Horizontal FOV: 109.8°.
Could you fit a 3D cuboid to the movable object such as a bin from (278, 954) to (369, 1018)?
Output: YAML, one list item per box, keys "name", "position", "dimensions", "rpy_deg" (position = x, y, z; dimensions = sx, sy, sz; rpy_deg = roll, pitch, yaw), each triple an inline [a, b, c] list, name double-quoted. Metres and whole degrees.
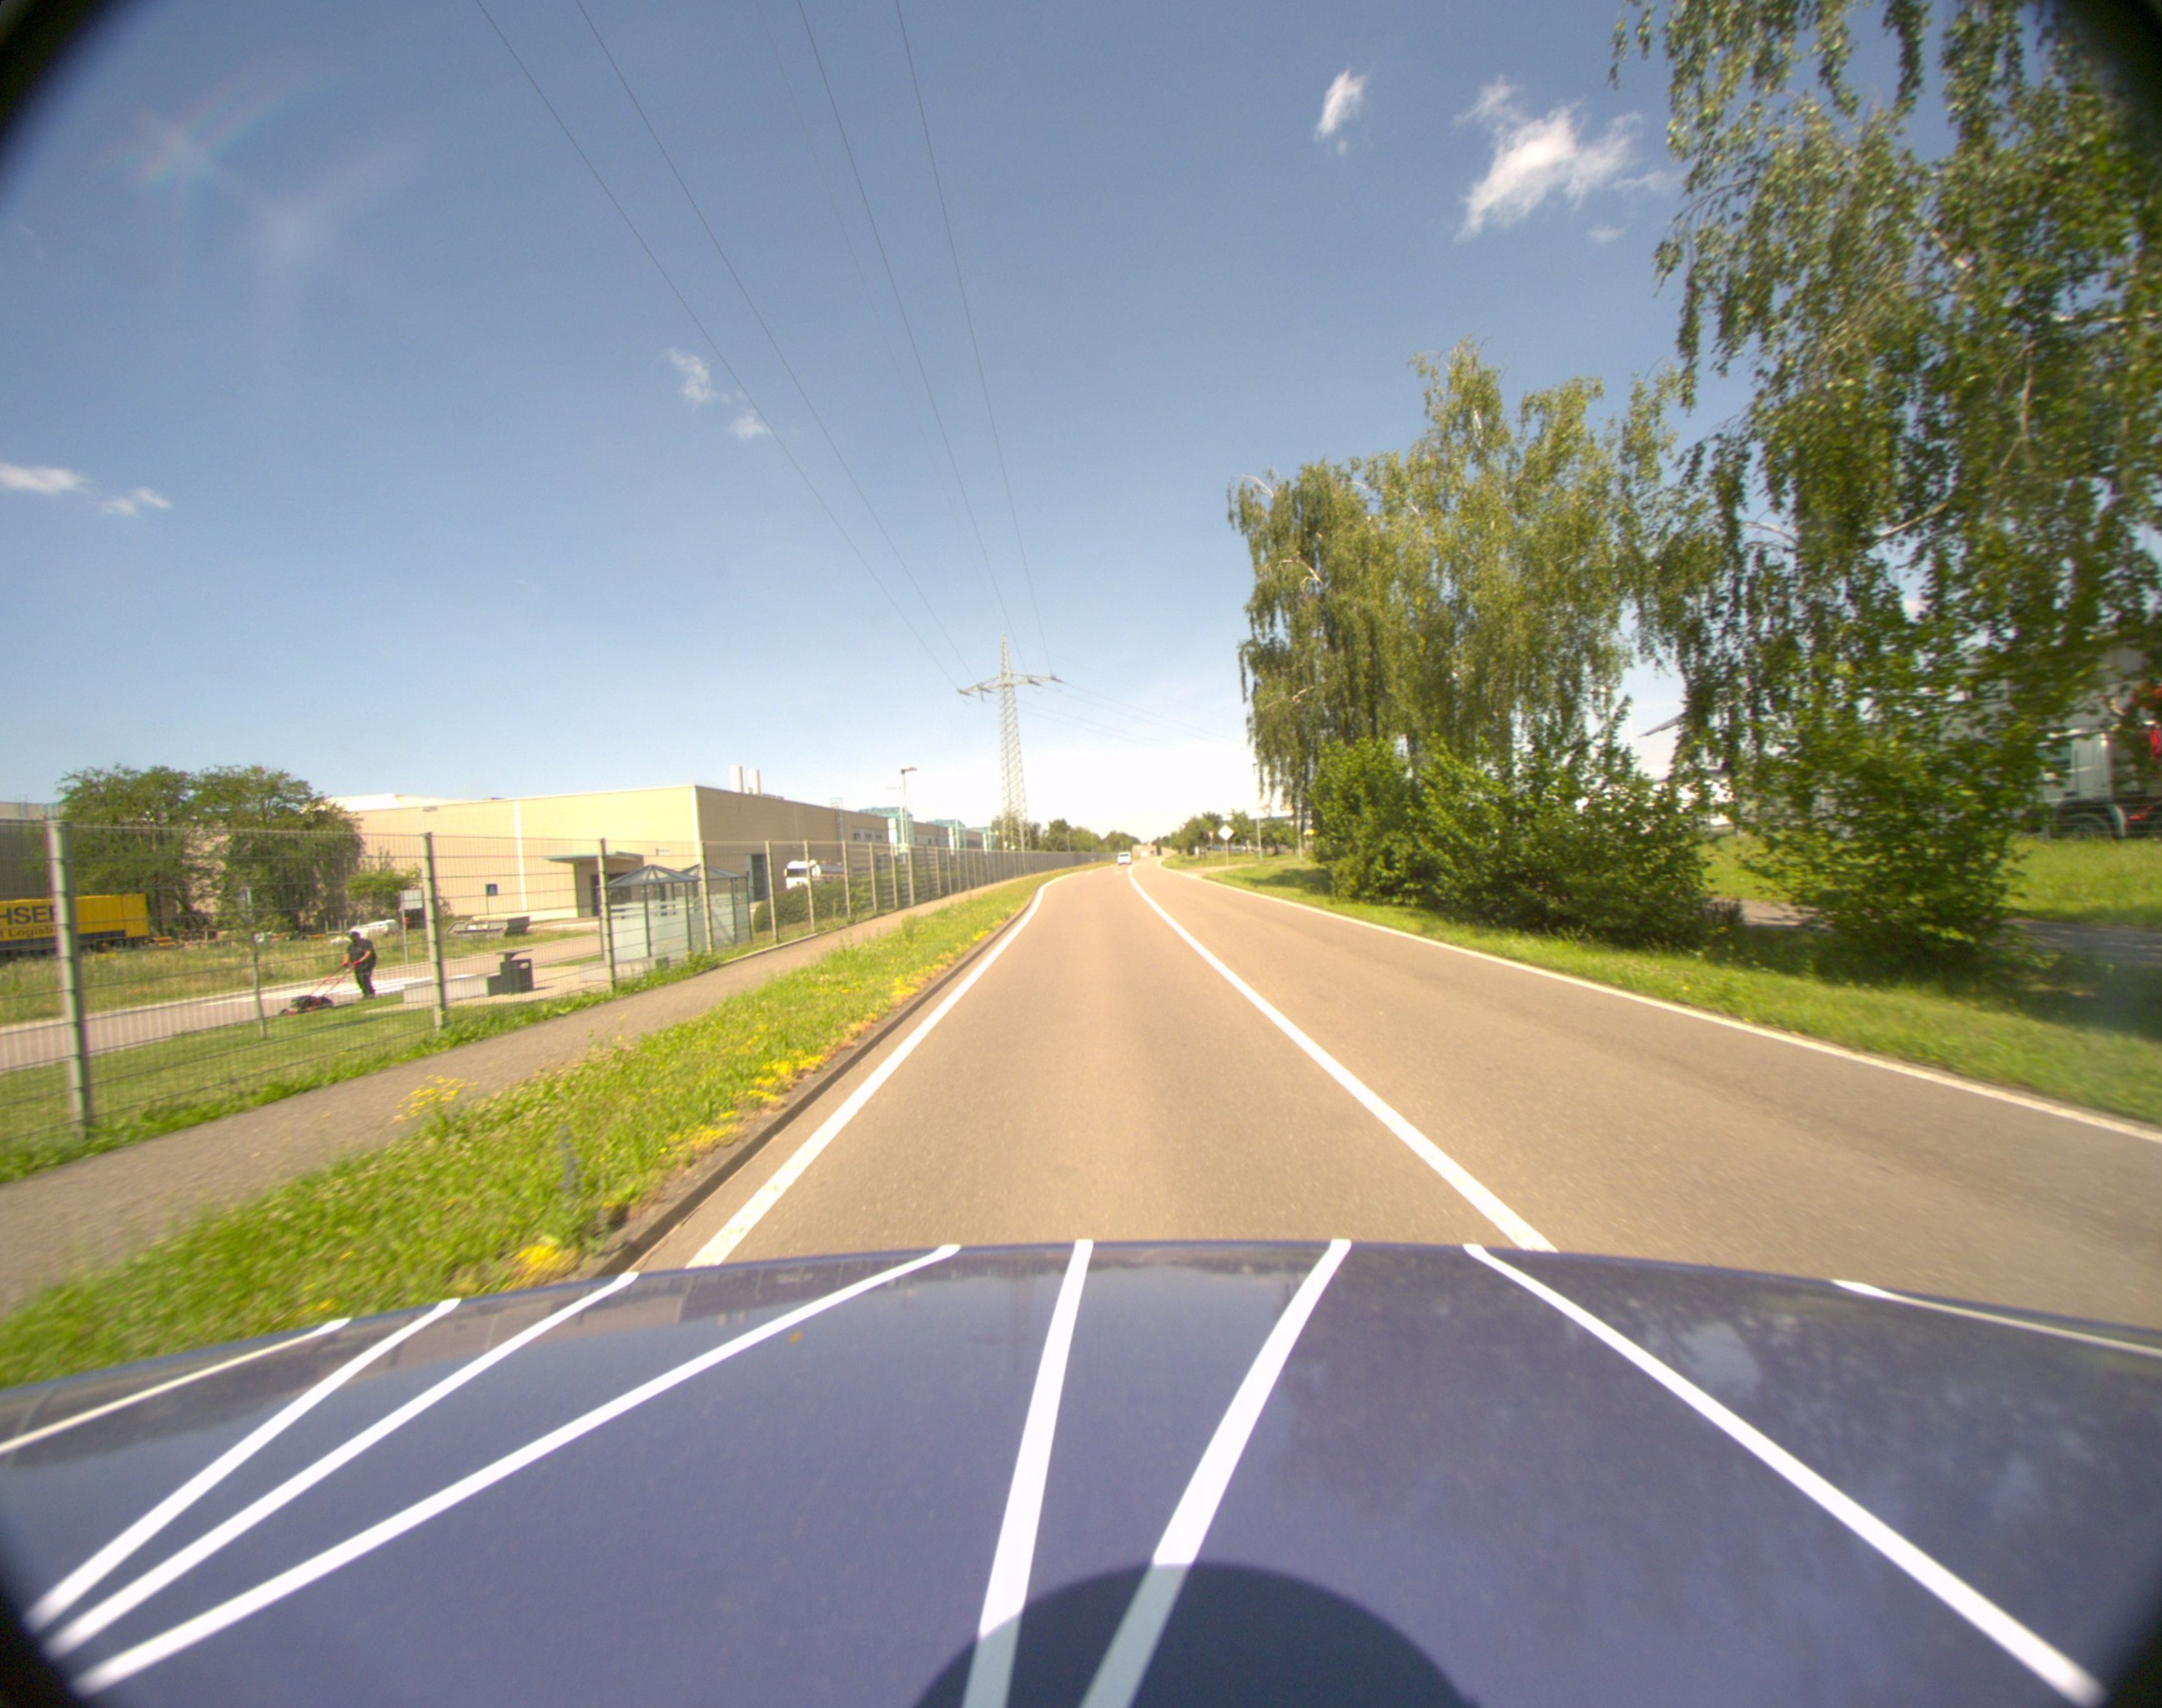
- name: "movable object such as a bin"
  position: [-17.577, 3.037, 17.682]
  dimensions: [0.420, 1.178, 1.568]
  rpy_deg: [-5, 0, 1]

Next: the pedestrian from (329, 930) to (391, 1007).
- name: "pedestrian"
  position: [-17.546, 2.765, 18.507]
  dimensions: [0.592, 1.719, 0.792]
  rpy_deg: [-5, 1, 1]

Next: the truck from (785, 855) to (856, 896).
- name: "truck"
  position: [-27.429, 2.117, 80.685]
  dimensions: [2.863, 3.720, 11.677]
  rpy_deg: [-3, 1, 3]

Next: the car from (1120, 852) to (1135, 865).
- name: "car"
  position: [6.965, 0.685, 113.512]
  dimensions: [1.836, 1.796, 4.831]
  rpy_deg: [-2, 0, 6]

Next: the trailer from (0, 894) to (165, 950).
- name: "trailer"
  position: [-62.992, 4.168, 44.044]
  dimensions: [1.998, 2.697, 14.098]
  rpy_deg: [-3, 1, 3]

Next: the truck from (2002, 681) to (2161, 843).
- name: "truck"
  position: [25.671, -2.102, 14.716]
  dimensions: [3.108, 3.624, 10.594]
  rpy_deg: [-3, 1, 3]

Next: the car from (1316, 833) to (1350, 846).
- name: "car"
  position: [36.429, -2.071, 109.763]
  dimensions: [4.220, 1.677, 1.870]
  rpy_deg: [-3, 1, 1]
